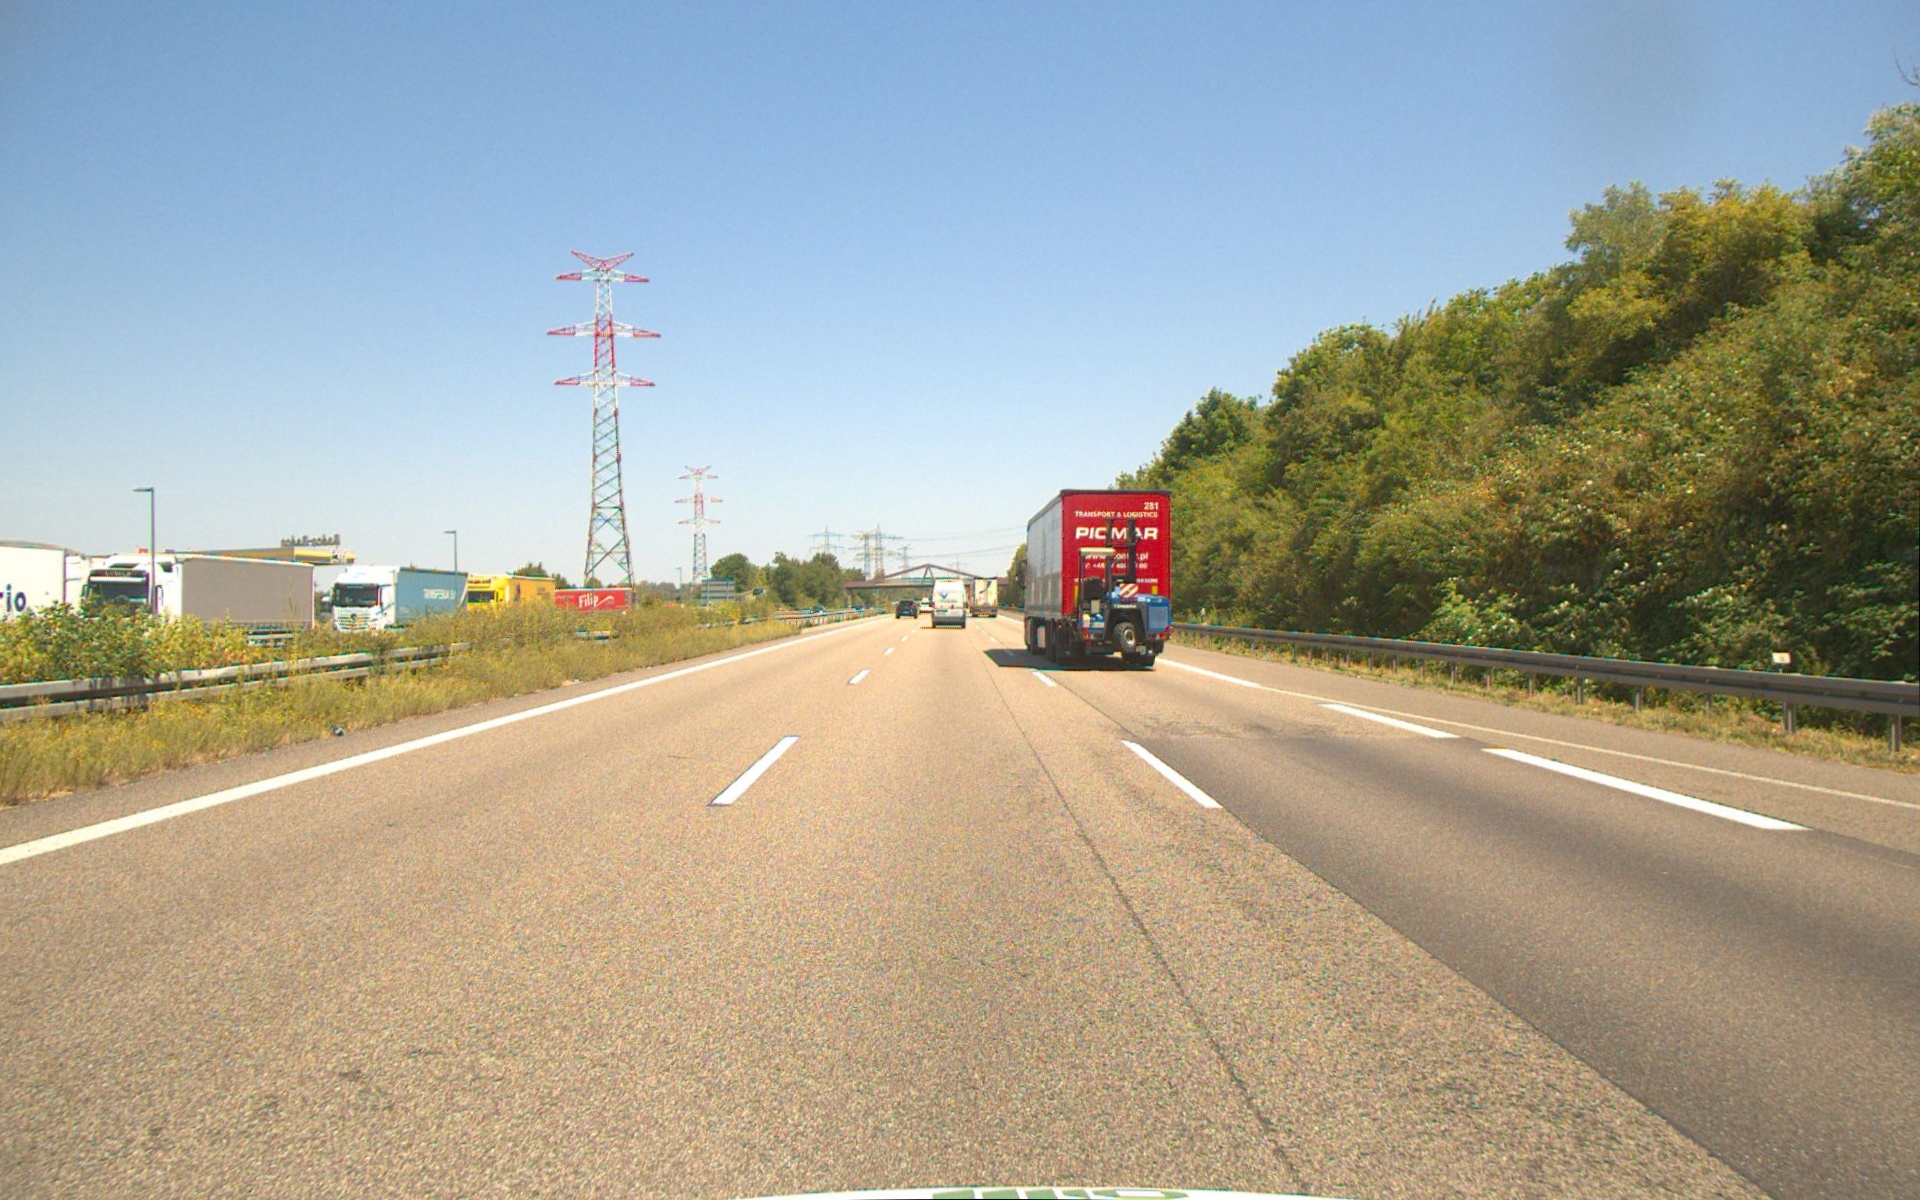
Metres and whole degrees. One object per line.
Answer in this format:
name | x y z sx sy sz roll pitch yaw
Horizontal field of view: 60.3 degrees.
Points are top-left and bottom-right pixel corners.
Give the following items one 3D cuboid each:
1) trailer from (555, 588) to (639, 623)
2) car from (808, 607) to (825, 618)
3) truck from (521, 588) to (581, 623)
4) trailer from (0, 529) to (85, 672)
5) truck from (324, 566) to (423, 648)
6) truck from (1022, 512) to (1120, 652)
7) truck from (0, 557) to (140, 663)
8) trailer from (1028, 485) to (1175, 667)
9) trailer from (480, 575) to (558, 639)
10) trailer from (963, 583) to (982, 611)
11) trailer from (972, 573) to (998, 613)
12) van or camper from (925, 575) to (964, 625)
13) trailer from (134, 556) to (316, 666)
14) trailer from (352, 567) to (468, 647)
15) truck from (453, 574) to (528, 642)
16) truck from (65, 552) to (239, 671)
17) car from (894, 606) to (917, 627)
trailer | -45.026 0.747 205.528 3.066 4.126 11.280 1 0 33
car | -18.481 1.624 212.812 1.706 1.298 4.317 -3 0 0
truck | -49.202 0.650 199.160 3.063 4.120 6.625 1 0 33
trailer | -30.116 -0.018 49.307 2.546 4.292 10.512 1 0 -1
truck | -31.001 0.357 87.777 2.792 4.144 7.087 1 0 -2
truck | 3.299 -0.504 50.797 2.448 3.988 7.095 0 0 -1
truck | -36.069 0.395 67.170 2.641 4.076 5.743 1 0 -1
trailer | 3.394 -0.505 43.379 2.440 3.978 14.243 0 0 -1
trailer | -31.198 0.505 117.506 2.776 4.293 11.079 1 0 -2
trailer | 1.829 -0.355 241.512 2.583 3.965 7.068 1 0 0
trailer | 2.659 -0.711 176.698 2.583 4.131 12.366 1 0 0
van or camper | -0.905 0.007 97.983 2.185 2.831 5.422 1 0 0
trailer | -30.914 0.443 70.298 3.050 4.231 11.011 1 0 -2
trailer | -31.179 0.410 94.384 2.776 4.221 12.080 1 0 -2
truck | -31.006 0.497 109.576 2.776 4.274 7.916 1 0 -1
truck | -30.673 0.421 63.178 3.054 4.231 7.501 1 0 -2
car | -5.025 1.484 152.924 1.941 1.849 3.813 1 0 1
